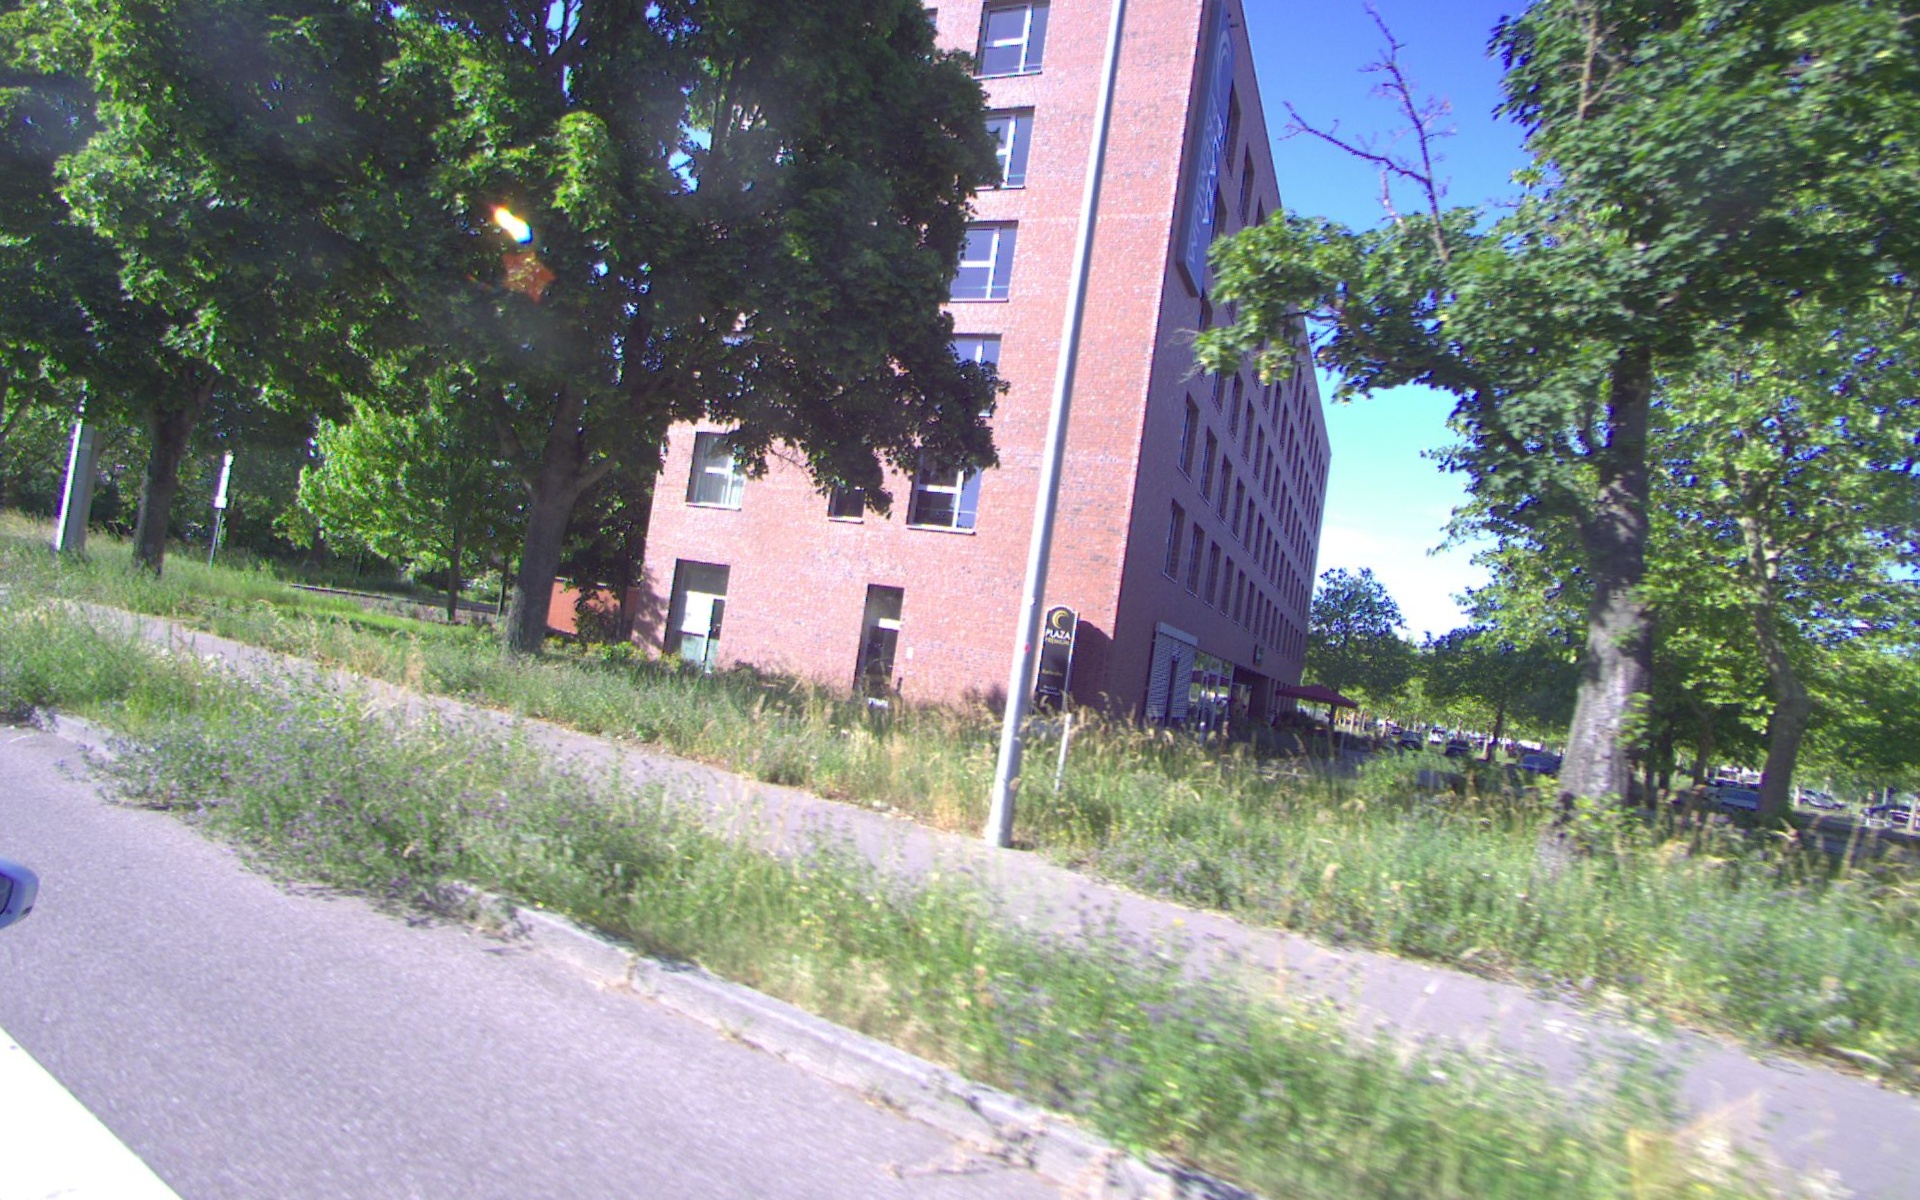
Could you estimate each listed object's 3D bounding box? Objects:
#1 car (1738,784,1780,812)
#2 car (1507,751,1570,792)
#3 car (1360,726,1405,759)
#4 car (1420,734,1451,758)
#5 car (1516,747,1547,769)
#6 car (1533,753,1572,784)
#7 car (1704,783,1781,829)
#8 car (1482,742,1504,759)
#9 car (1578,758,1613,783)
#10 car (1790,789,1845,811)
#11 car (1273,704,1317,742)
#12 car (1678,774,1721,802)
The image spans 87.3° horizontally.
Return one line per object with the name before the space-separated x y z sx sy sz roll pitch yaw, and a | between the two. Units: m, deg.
car | 54.883 13.574 69.172 1.708 1.507 3.997 7 -4 33
car | 26.951 8.000 46.791 1.846 1.507 3.991 6 -4 39
car | 24.054 8.091 57.199 1.841 1.507 4.001 7 -4 28
car | 37.645 11.570 79.622 1.801 1.478 4.232 7 -4 30
car | 48.712 13.458 85.691 1.843 1.507 3.996 7 -4 34
car | 35.754 10.141 60.735 1.801 1.478 4.232 7 -4 30
car | 33.090 8.667 42.667 1.801 1.413 4.526 7 -4 30
car | 57.051 16.157 107.715 1.801 1.478 4.232 7 -4 30
car | 46.643 12.479 73.876 1.801 1.478 4.232 7 -4 30
car | 93.041 21.690 109.256 4.160 1.478 1.832 7 -4 31
car | 19.403 7.140 58.212 1.839 1.848 4.004 7 -4 25
car | 52.005 13.214 70.805 1.801 1.478 4.232 7 -4 30
